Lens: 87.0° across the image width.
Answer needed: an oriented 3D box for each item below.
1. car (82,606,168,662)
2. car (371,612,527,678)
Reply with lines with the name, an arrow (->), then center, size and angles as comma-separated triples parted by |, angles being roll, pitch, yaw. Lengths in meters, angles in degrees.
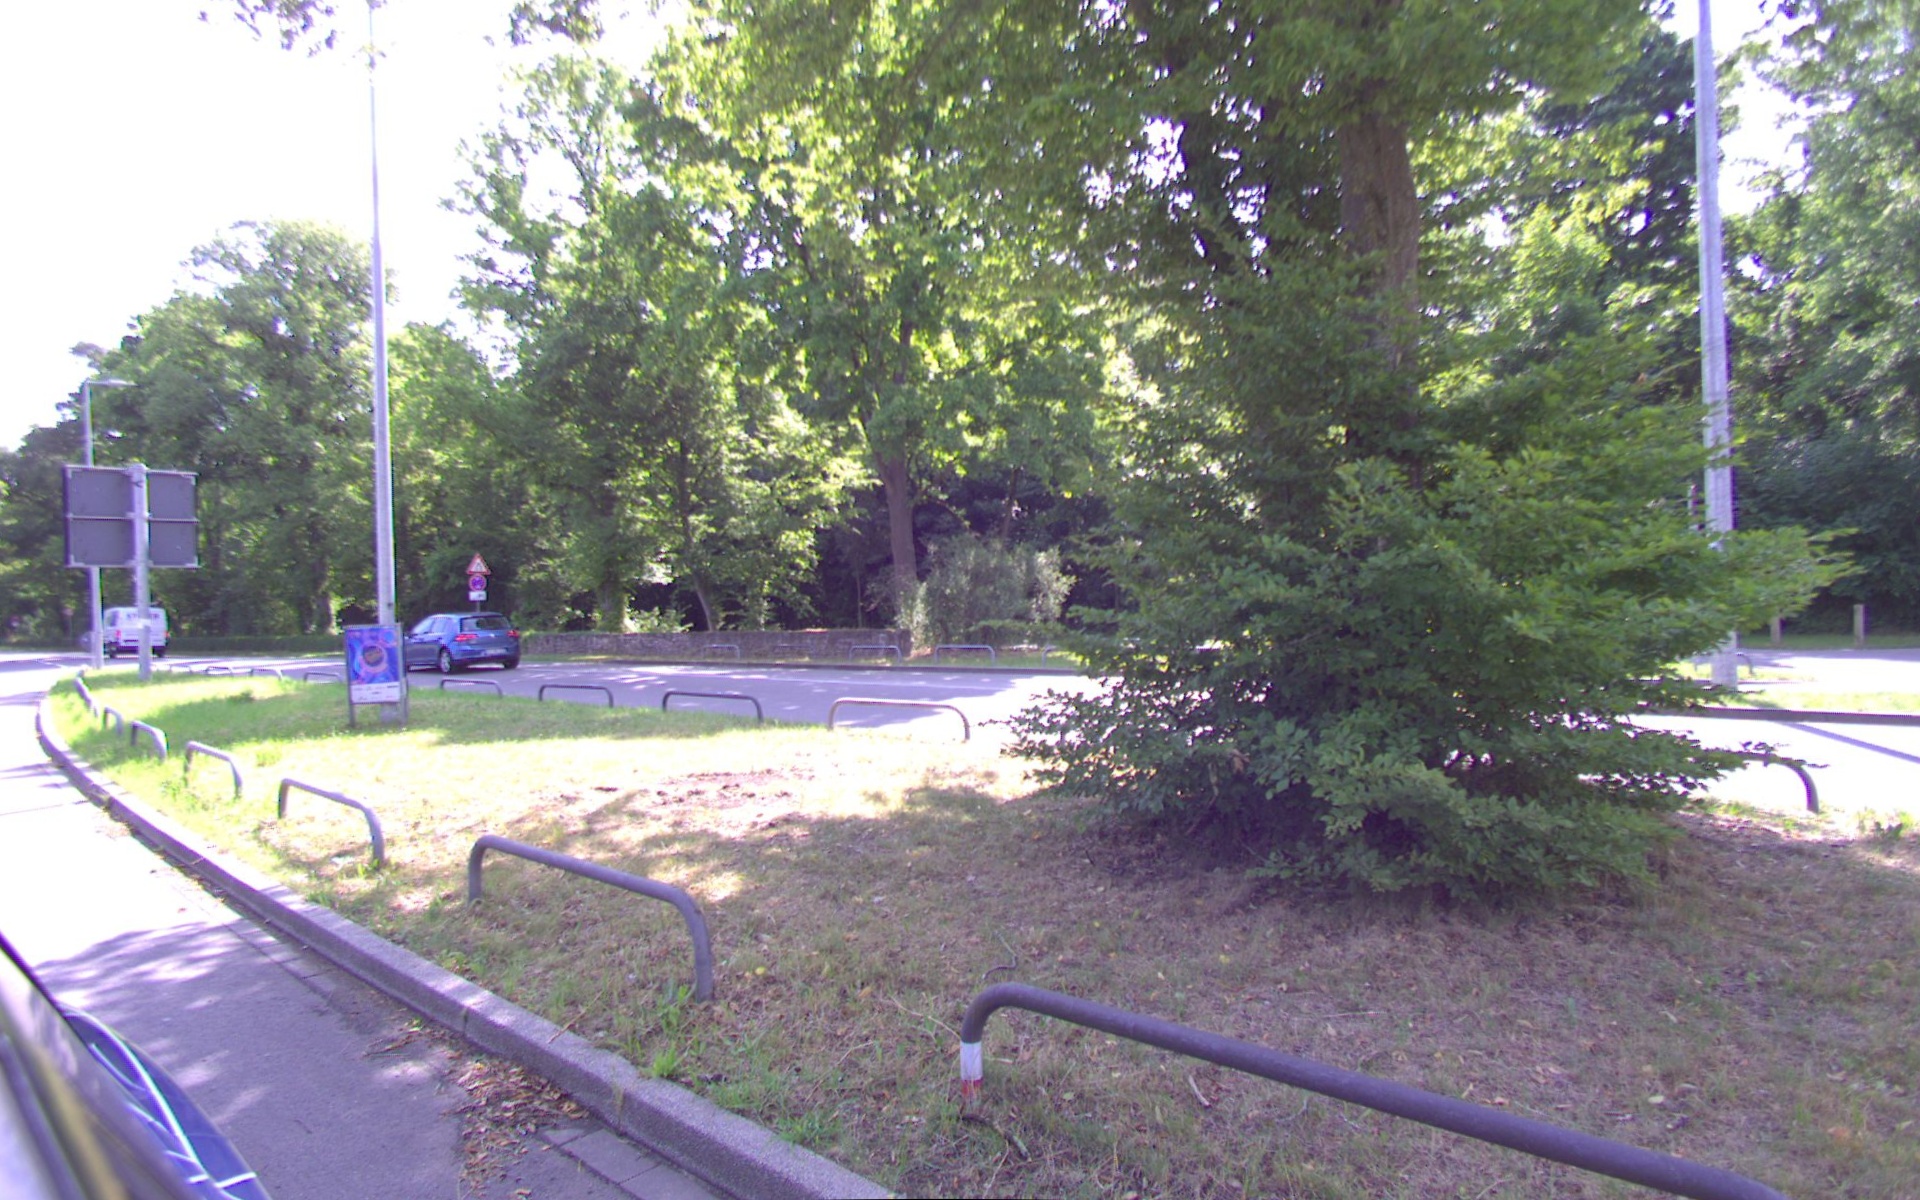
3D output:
car -> -39.379, 1.557, 47.674 | 5.356, 2.449, 1.956 | -1, 1, 38
car -> -12.777, 1.085, 25.221 | 4.056, 1.457, 1.681 | -1, 1, 34
